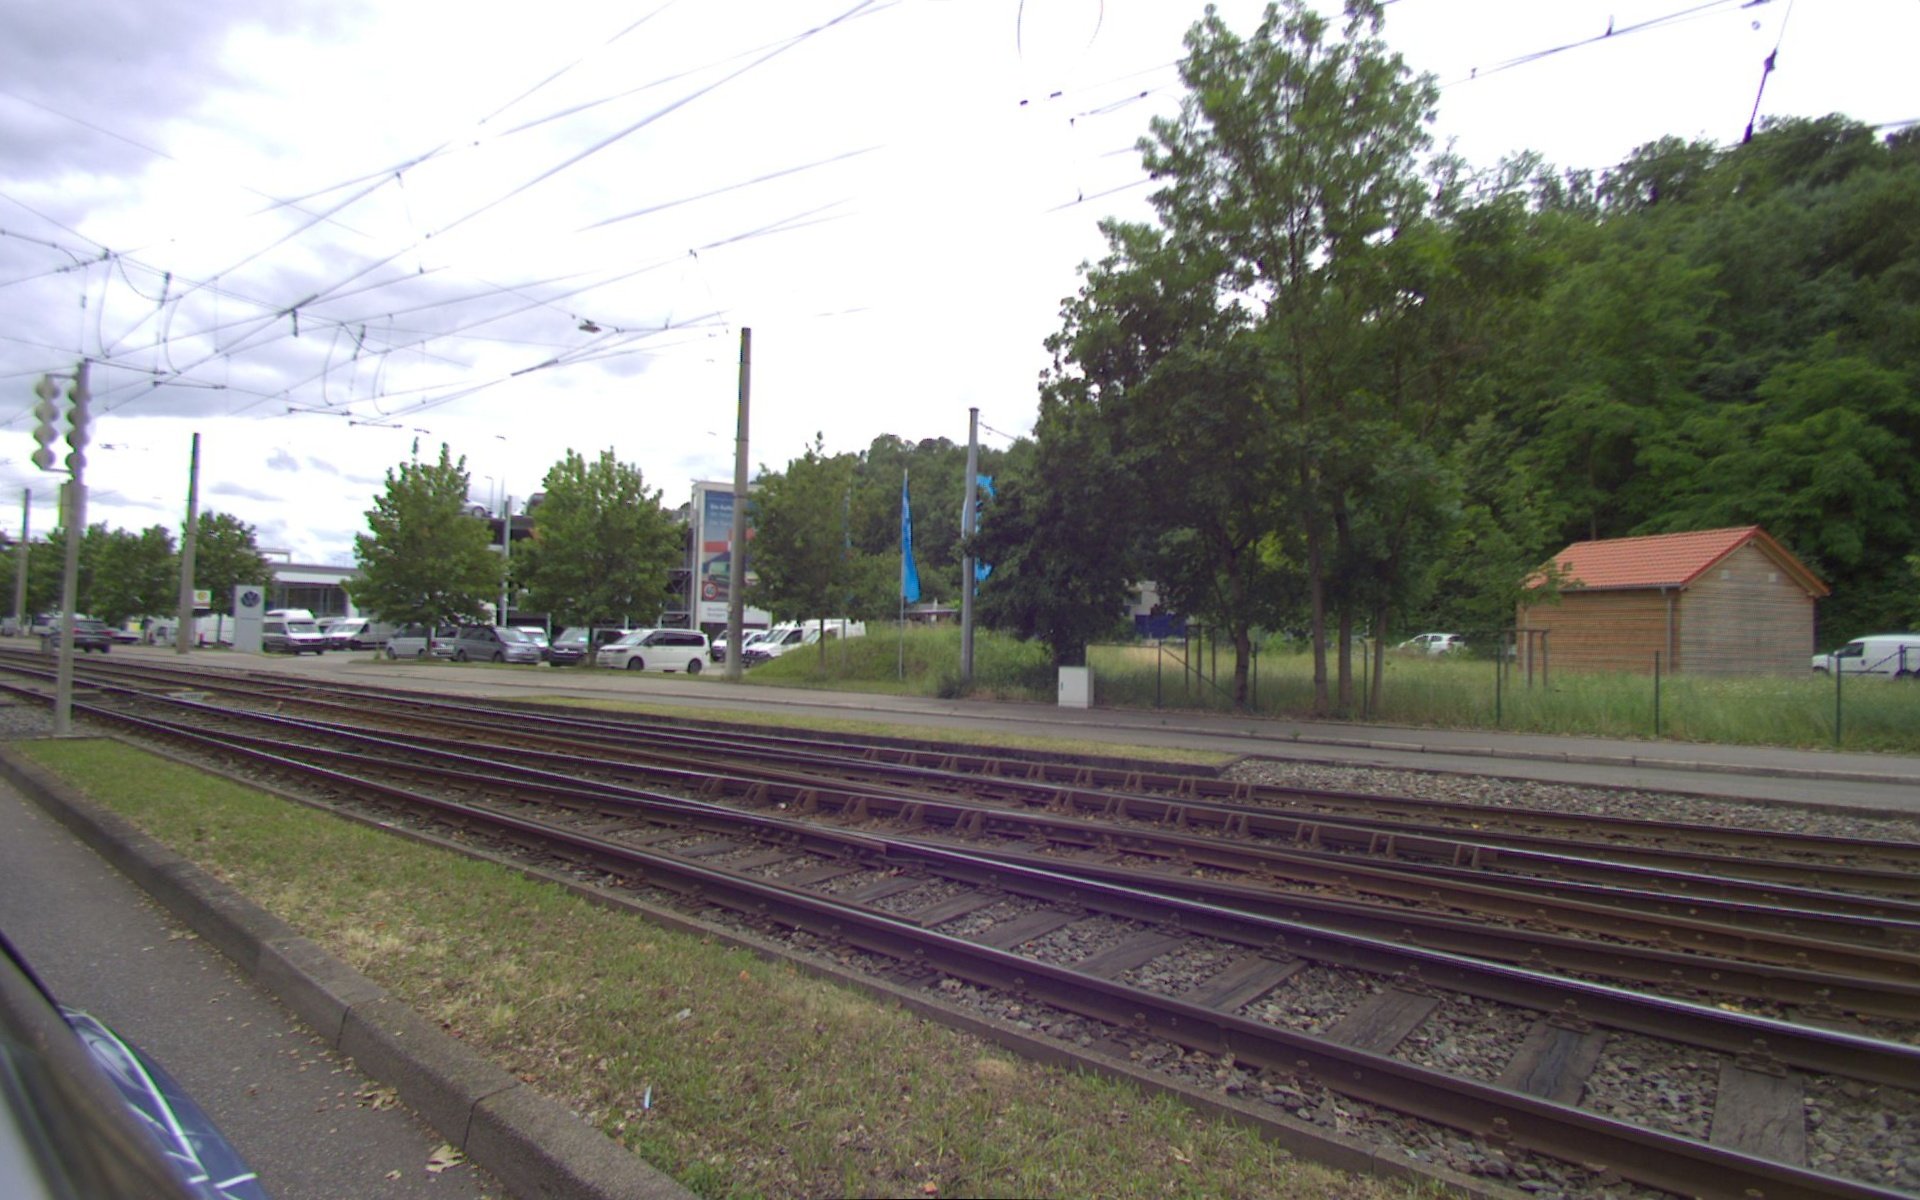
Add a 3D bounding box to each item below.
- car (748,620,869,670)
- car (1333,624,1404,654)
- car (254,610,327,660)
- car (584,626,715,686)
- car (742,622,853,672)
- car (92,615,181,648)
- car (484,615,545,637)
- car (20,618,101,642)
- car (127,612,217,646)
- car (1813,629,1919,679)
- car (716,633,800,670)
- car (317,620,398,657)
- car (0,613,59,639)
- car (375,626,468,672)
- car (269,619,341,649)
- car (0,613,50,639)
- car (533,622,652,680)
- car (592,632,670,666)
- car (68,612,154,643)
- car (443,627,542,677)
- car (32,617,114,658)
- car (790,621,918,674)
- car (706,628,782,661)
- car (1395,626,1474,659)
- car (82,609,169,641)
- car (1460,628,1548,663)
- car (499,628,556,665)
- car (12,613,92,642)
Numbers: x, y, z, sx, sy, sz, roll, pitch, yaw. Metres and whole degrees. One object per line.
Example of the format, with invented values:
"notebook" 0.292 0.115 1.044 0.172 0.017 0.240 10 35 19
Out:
"car" -7.691 2.252 51.490 5.751 2.284 2.060 -1 0 -28
"car" 24.085 2.287 59.800 1.727 1.625 3.693 0 0 -25
"car" -43.566 2.224 65.794 6.154 3.034 2.291 0 0 40
"car" -13.231 2.326 43.481 1.997 2.284 5.206 0 0 37
"car" -8.757 2.501 54.821 5.568 2.479 1.986 -1 0 -31
"car" -59.884 2.268 73.682 2.102 2.225 4.589 0 0 32
"car" -42.184 2.441 95.763 5.138 1.850 1.986 -1 0 -29
"car" -73.953 2.449 83.227 2.102 1.854 4.589 0 0 32
"car" -55.356 2.026 71.175 2.102 2.225 4.589 0 0 32
"car" 33.785 1.939 36.865 1.877 1.625 3.693 0 0 -22
"car" -11.311 2.829 56.620 4.165 1.850 1.986 -1 0 -31
"car" -46.859 2.935 78.906 2.293 2.642 6.036 0 0 6
"car" -83.976 2.315 90.547 2.102 2.225 4.589 0 0 32
"car" -27.444 2.450 51.576 4.761 2.132 2.119 0 0 32
"car" -54.042 2.766 83.513 2.107 2.225 4.578 0 0 39
"car" -85.998 2.325 91.923 2.102 2.225 4.589 0 0 32
"car" -16.401 2.219 45.421 1.977 2.284 4.716 0 0 37
"car" -19.818 2.914 60.987 4.165 1.850 1.986 -1 0 -31
"car" -64.241 2.038 76.617 2.102 2.225 4.589 0 0 32
"car" -22.227 2.411 48.091 4.763 2.132 2.118 0 0 34
"car" -43.193 1.799 49.272 4.125 1.731 1.884 1 -6 34
"car" -5.093 2.242 48.724 5.762 2.284 2.060 -1 0 -28
"car" -13.372 2.726 62.584 4.165 1.850 1.986 -1 0 -31
"car" 26.095 2.286 55.728 1.727 1.625 3.693 0 0 -25
"car" -61.863 1.827 75.131 2.102 2.225 4.589 0 0 32
"car" 27.788 2.288 51.772 1.727 1.625 3.693 0 0 -22
"car" -24.907 2.619 58.184 1.872 1.907 4.606 -1 0 -38
"car" -75.904 2.273 84.639 2.102 2.225 4.589 0 0 32
